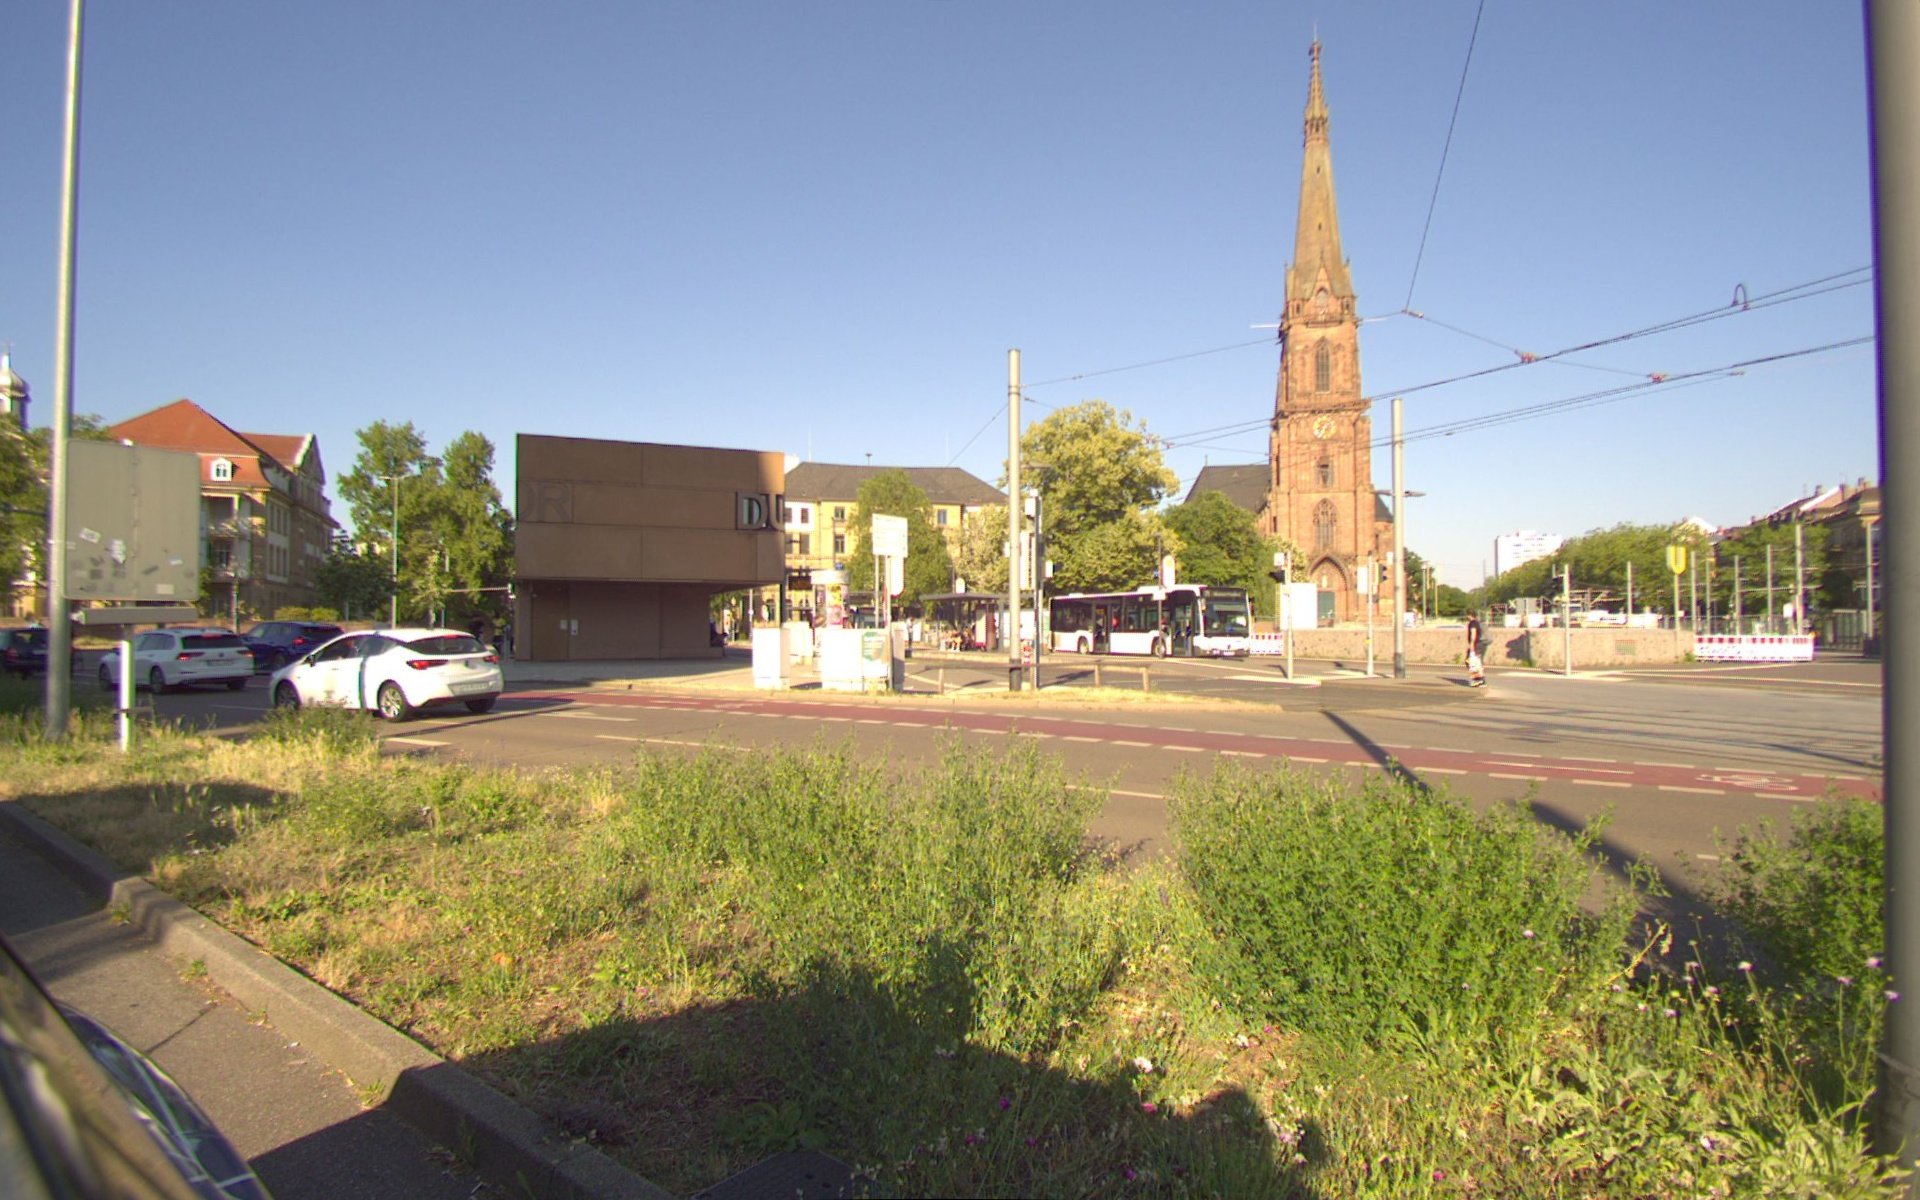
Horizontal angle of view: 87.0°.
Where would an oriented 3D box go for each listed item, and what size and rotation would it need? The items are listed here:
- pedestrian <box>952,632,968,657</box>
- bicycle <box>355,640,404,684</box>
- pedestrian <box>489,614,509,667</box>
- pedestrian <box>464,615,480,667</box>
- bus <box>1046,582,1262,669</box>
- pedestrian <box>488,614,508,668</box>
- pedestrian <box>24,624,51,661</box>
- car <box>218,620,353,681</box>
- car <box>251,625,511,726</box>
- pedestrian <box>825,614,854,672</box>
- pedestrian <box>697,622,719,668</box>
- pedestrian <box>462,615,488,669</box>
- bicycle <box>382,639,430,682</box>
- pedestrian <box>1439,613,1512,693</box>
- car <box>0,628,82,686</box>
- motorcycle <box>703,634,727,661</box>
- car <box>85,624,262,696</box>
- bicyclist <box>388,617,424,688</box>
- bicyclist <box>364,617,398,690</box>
[{"bbox_3d":[0.000,2.193,49.873,0.531,1.196,0.660,-1,0,-21],"label":"pedestrian"},{"bbox_3d":[-16.449,1.746,28.684,1.388,1.201,0.461,-1,0,23],"label":"bicycle"},{"bbox_3d":[-18.013,1.580,39.528,0.645,2.029,0.470,-1,0,-29],"label":"pedestrian"},{"bbox_3d":[-19.075,1.594,39.573,0.460,2.029,0.658,-1,0,-33],"label":"pedestrian"},{"bbox_3d":[7.741,0.966,43.329,2.655,3.174,12.216,-1,0,-23],"label":"bus"},{"bbox_3d":[-17.809,1.577,38.998,0.645,2.029,0.470,-1,0,-29],"label":"pedestrian"},{"bbox_3d":[-47.748,2.188,52.398,0.787,1.911,0.612,0,-2,-9],"label":"pedestrian"},{"bbox_3d":[-20.165,1.458,30.207,4.173,1.703,1.738,-1,-2,31],"label":"car"},{"bbox_3d":[-9.762,1.188,17.033,4.165,1.471,1.742,-1,0,25],"label":"car"},{"bbox_3d":[-3.772,1.328,31.730,0.702,1.771,0.584,-1,0,-30],"label":"pedestrian"},{"bbox_3d":[-11.269,2.001,45.239,0.762,2.029,0.778,-1,0,-2],"label":"pedestrian"},{"bbox_3d":[-18.476,1.586,38.548,0.765,2.029,0.775,-1,0,-37],"label":"pedestrian"},{"bbox_3d":[-15.997,1.740,29.200,1.388,1.201,0.461,-1,0,23],"label":"bicycle"},{"bbox_3d":[11.493,1.161,22.576,1.025,1.696,1.007,-1,0,-25],"label":"pedestrian"},{"bbox_3d":[-26.835,1.558,28.536,4.169,1.471,1.740,-1,0,28],"label":"car"},{"bbox_3d":[-10.188,1.958,42.054,0.935,1.075,0.331,-1,0,-11],"label":"motorcycle"},{"bbox_3d":[-18.586,1.356,23.878,4.375,1.503,1.831,-1,0,30],"label":"car"},{"bbox_3d":[-15.975,1.497,29.179,0.705,2.029,0.605,-1,-2,25],"label":"bicyclist"},{"bbox_3d":[-16.339,1.486,28.554,0.562,2.029,0.605,-1,-2,25],"label":"bicyclist"}]
